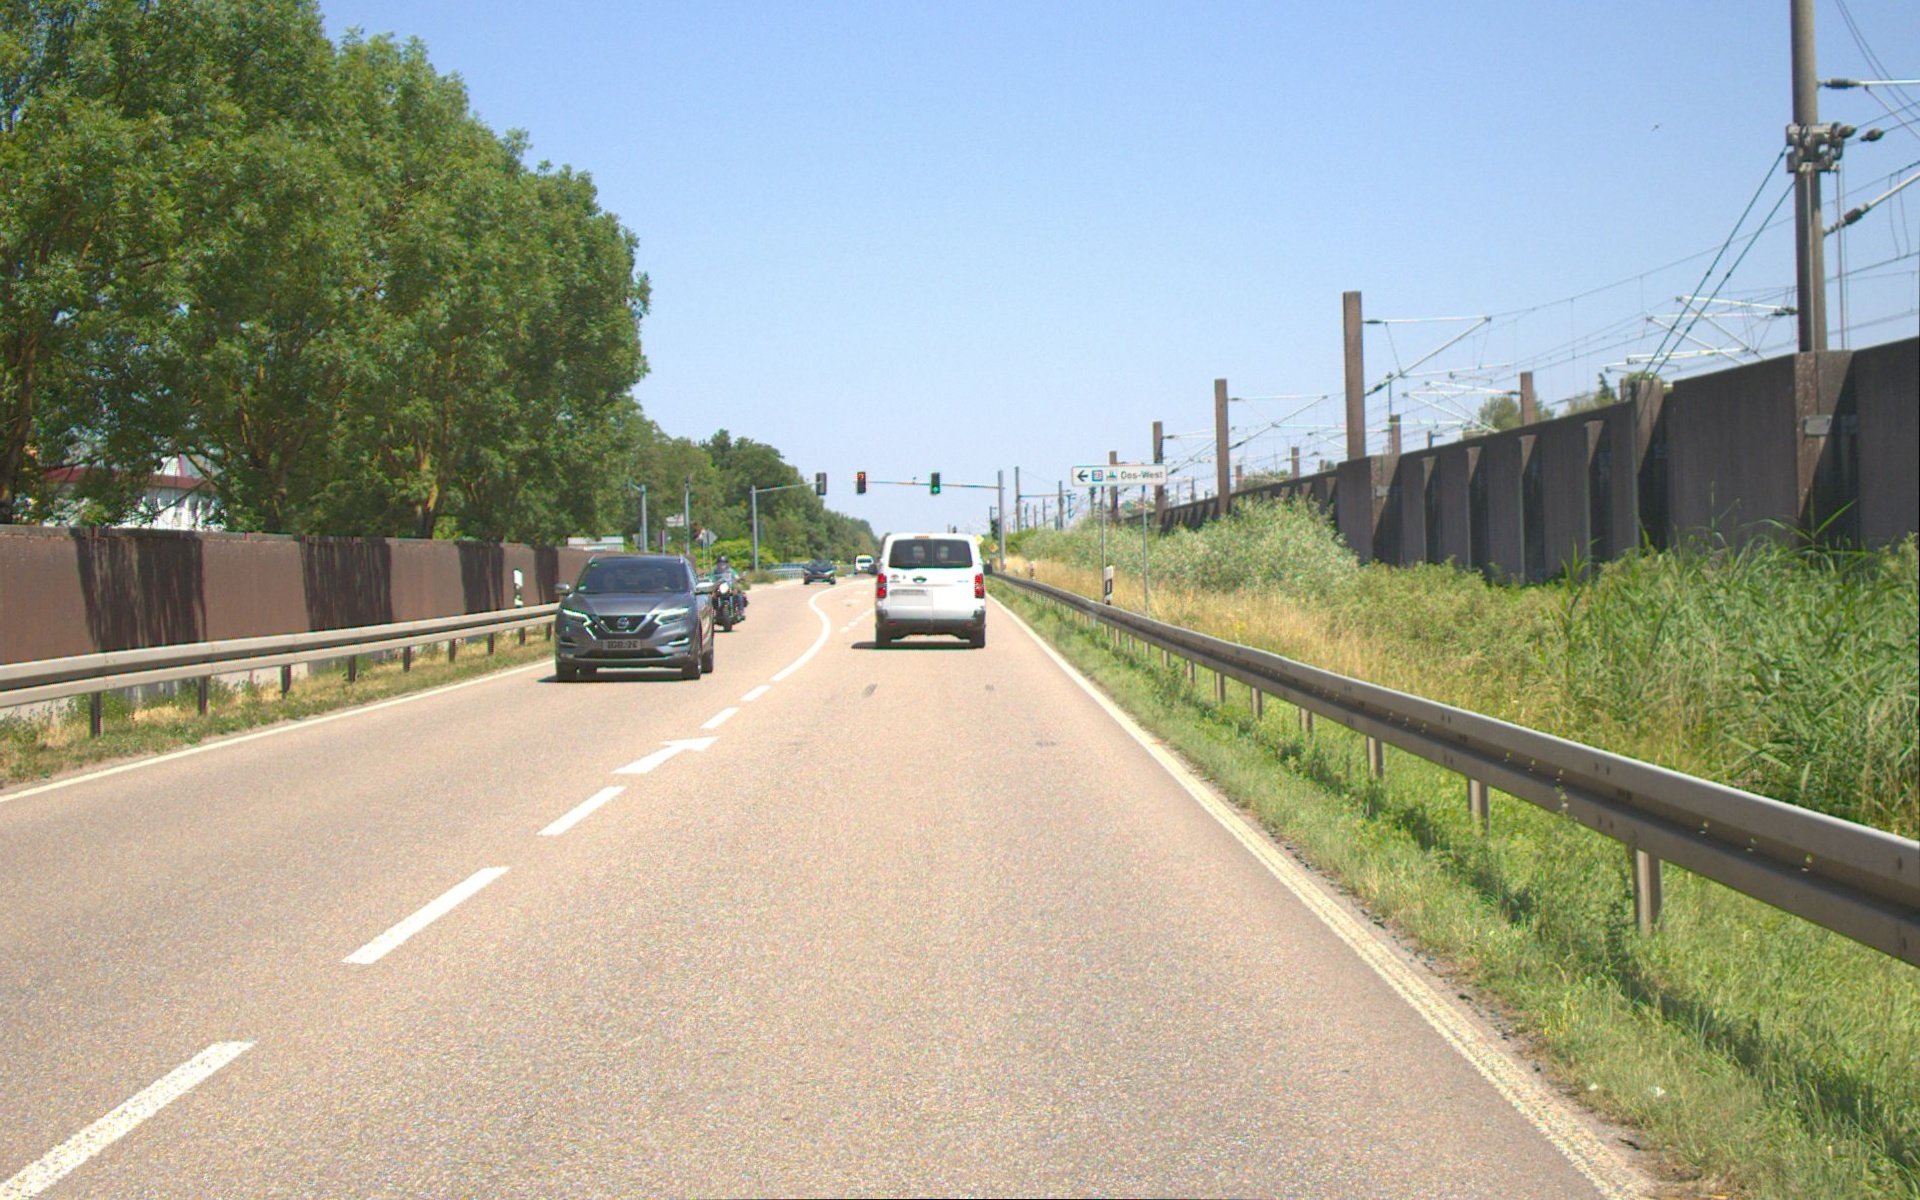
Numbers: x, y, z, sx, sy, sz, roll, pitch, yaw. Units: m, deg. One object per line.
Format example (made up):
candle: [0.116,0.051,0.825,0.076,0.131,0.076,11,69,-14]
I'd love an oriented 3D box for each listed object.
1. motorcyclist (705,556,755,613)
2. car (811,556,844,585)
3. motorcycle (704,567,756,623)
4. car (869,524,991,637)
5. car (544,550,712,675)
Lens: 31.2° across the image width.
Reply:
motorcyclist: [-4.733,-0.329,70.723,0.937,1.126,0.927,2,1,-1]
car: [-7.681,-1.711,199.763,1.819,1.590,4.000,1,1,-1]
motorcycle: [-4.727,-0.113,70.762,0.953,1.104,2.336,1,1,-1]
car: [-0.500,-0.357,58.638,1.993,1.843,4.000,1,1,0]
car: [-4.212,0.120,44.166,1.789,1.520,4.390,0,1,-1]
